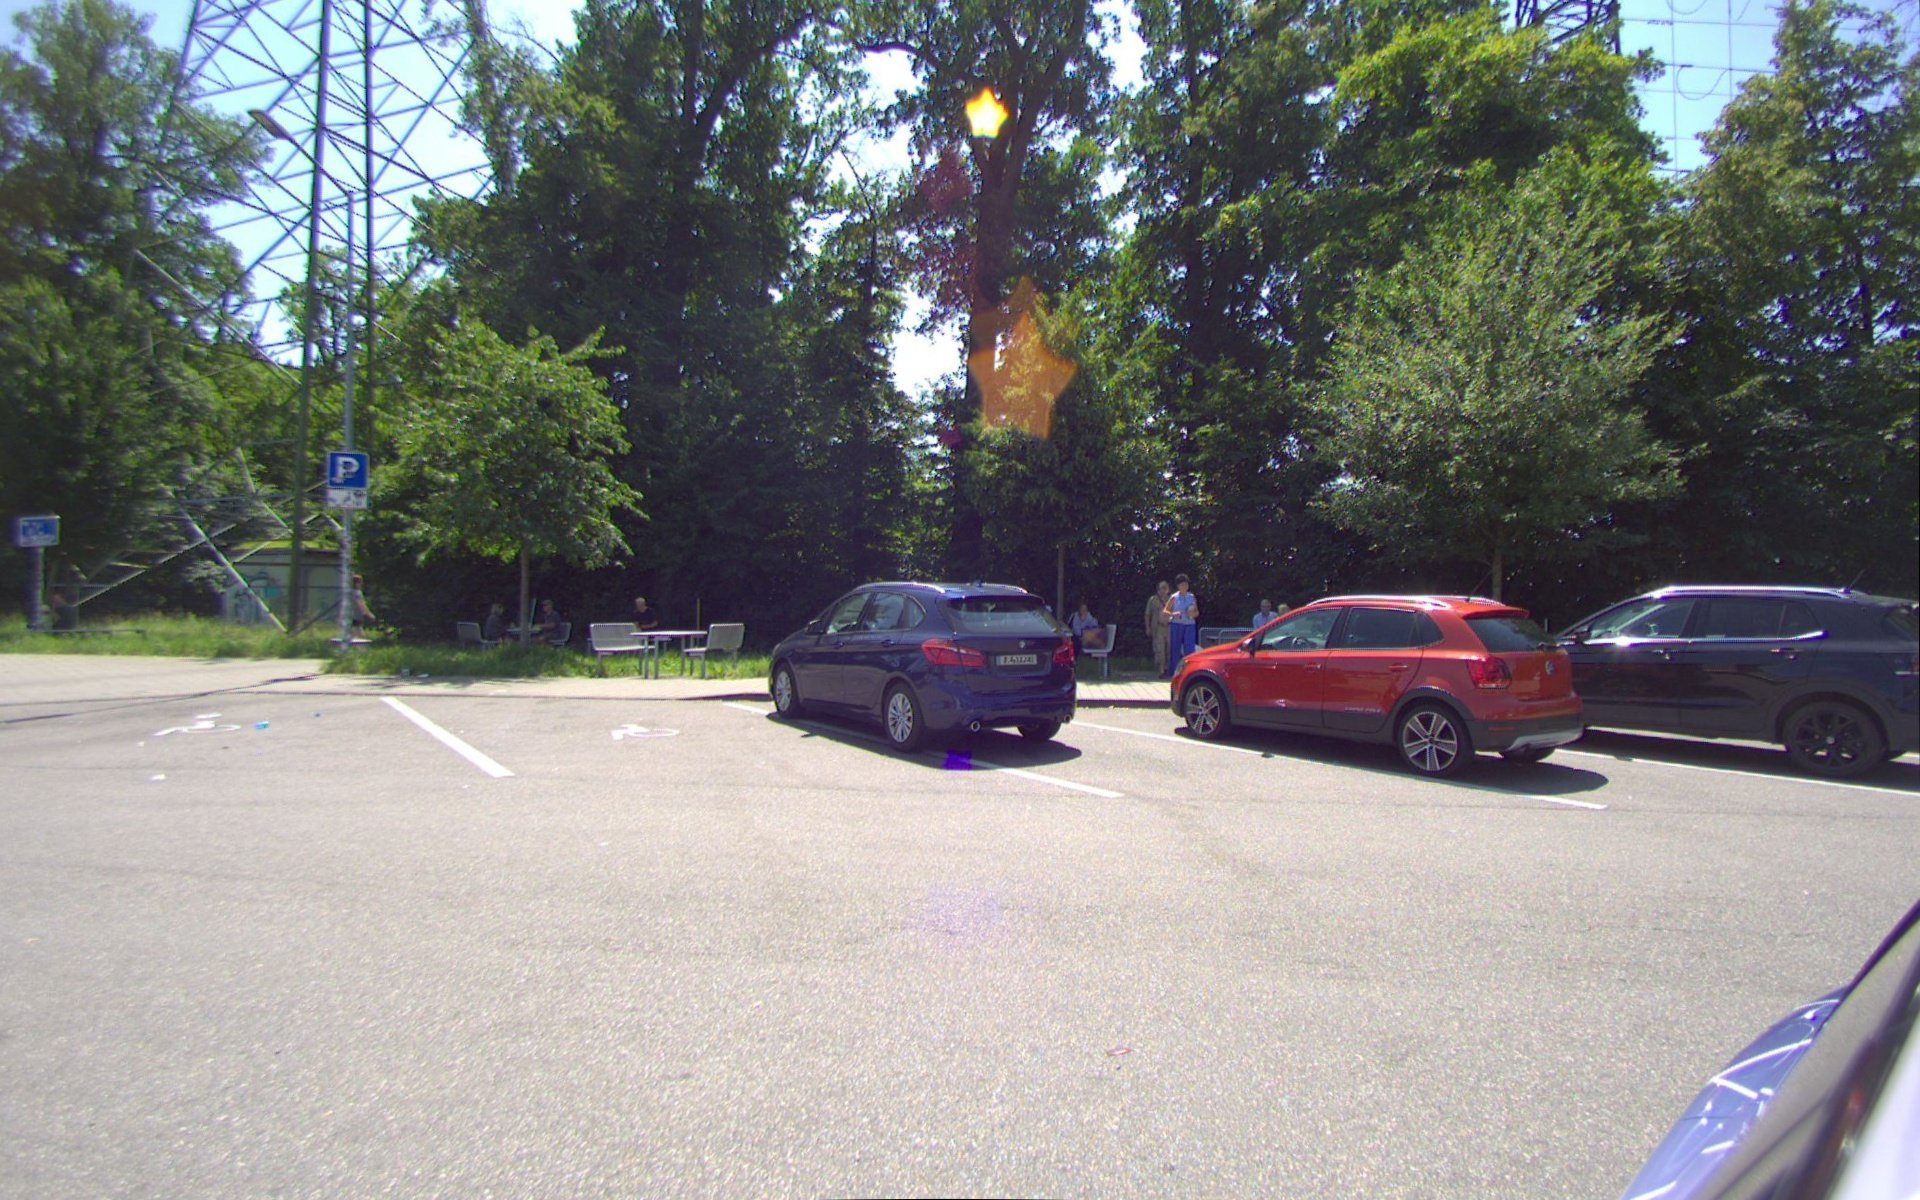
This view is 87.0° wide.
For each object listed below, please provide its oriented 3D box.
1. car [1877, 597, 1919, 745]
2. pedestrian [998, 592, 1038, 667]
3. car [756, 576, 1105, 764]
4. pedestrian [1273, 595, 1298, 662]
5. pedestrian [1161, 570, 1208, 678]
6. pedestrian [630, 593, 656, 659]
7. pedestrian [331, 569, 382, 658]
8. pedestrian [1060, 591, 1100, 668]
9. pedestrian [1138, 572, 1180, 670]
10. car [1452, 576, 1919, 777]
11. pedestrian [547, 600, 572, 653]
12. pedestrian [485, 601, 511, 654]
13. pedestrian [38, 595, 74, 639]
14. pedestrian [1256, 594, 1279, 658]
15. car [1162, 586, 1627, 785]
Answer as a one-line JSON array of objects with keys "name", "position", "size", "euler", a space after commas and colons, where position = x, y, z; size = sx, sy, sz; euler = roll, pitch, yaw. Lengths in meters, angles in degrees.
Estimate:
[{"name": "car", "position": [10.893, 0.696, 9.014], "size": [1.620, 1.420, 3.826], "euler": [0, 0, -37]}, {"name": "pedestrian", "position": [0.986, 0.489, 17.117], "size": [0.586, 1.261, 0.445], "euler": [0, 0, 16]}, {"name": "car", "position": [-0.545, 0.544, 10.792], "size": [1.714, 1.572, 4.347], "euler": [0, 1, -33]}, {"name": "pedestrian", "position": [5.767, 0.496, 17.954], "size": [0.350, 1.180, 0.384], "euler": [0, 0, 8]}, {"name": "pedestrian", "position": [3.441, 0.359, 15.521], "size": [0.636, 1.625, 0.571], "euler": [0, 0, 6]}, {"name": "pedestrian", "position": [-6.690, 0.538, 21.351], "size": [0.438, 1.363, 0.462], "euler": [0, 0, -5]}, {"name": "pedestrian", "position": [-11.626, 0.248, 19.503], "size": [0.685, 1.670, 0.703], "euler": [0, 0, 45]}, {"name": "pedestrian", "position": [1.999, 0.486, 16.861], "size": [0.586, 1.261, 0.498], "euler": [0, 0, 16]}, {"name": "pedestrian", "position": [3.335, 0.344, 17.028], "size": [0.636, 1.625, 0.571], "euler": [0, 0, 6]}, {"name": "car", "position": [7.092, 0.585, 9.869], "size": [1.620, 1.575, 3.826], "euler": [0, 0, -37]}, {"name": "pedestrian", "position": [-9.348, 0.607, 23.604], "size": [0.452, 1.209, 0.447], "euler": [0, 0, -34]}, {"name": "pedestrian", "position": [-10.437, 0.606, 22.863], "size": [0.452, 1.182, 0.447], "euler": [0, 0, -34]}, {"name": "pedestrian", "position": [-20.955, 0.389, 23.463], "size": [0.452, 0.987, 0.447], "euler": [0, 0, -2]}, {"name": "pedestrian", "position": [5.816, 0.484, 19.130], "size": [0.350, 1.180, 0.384], "euler": [0, 0, 8]}, {"name": "car", "position": [3.876, 0.627, 9.653], "size": [1.619, 1.487, 3.830], "euler": [0, 0, -33]}]
